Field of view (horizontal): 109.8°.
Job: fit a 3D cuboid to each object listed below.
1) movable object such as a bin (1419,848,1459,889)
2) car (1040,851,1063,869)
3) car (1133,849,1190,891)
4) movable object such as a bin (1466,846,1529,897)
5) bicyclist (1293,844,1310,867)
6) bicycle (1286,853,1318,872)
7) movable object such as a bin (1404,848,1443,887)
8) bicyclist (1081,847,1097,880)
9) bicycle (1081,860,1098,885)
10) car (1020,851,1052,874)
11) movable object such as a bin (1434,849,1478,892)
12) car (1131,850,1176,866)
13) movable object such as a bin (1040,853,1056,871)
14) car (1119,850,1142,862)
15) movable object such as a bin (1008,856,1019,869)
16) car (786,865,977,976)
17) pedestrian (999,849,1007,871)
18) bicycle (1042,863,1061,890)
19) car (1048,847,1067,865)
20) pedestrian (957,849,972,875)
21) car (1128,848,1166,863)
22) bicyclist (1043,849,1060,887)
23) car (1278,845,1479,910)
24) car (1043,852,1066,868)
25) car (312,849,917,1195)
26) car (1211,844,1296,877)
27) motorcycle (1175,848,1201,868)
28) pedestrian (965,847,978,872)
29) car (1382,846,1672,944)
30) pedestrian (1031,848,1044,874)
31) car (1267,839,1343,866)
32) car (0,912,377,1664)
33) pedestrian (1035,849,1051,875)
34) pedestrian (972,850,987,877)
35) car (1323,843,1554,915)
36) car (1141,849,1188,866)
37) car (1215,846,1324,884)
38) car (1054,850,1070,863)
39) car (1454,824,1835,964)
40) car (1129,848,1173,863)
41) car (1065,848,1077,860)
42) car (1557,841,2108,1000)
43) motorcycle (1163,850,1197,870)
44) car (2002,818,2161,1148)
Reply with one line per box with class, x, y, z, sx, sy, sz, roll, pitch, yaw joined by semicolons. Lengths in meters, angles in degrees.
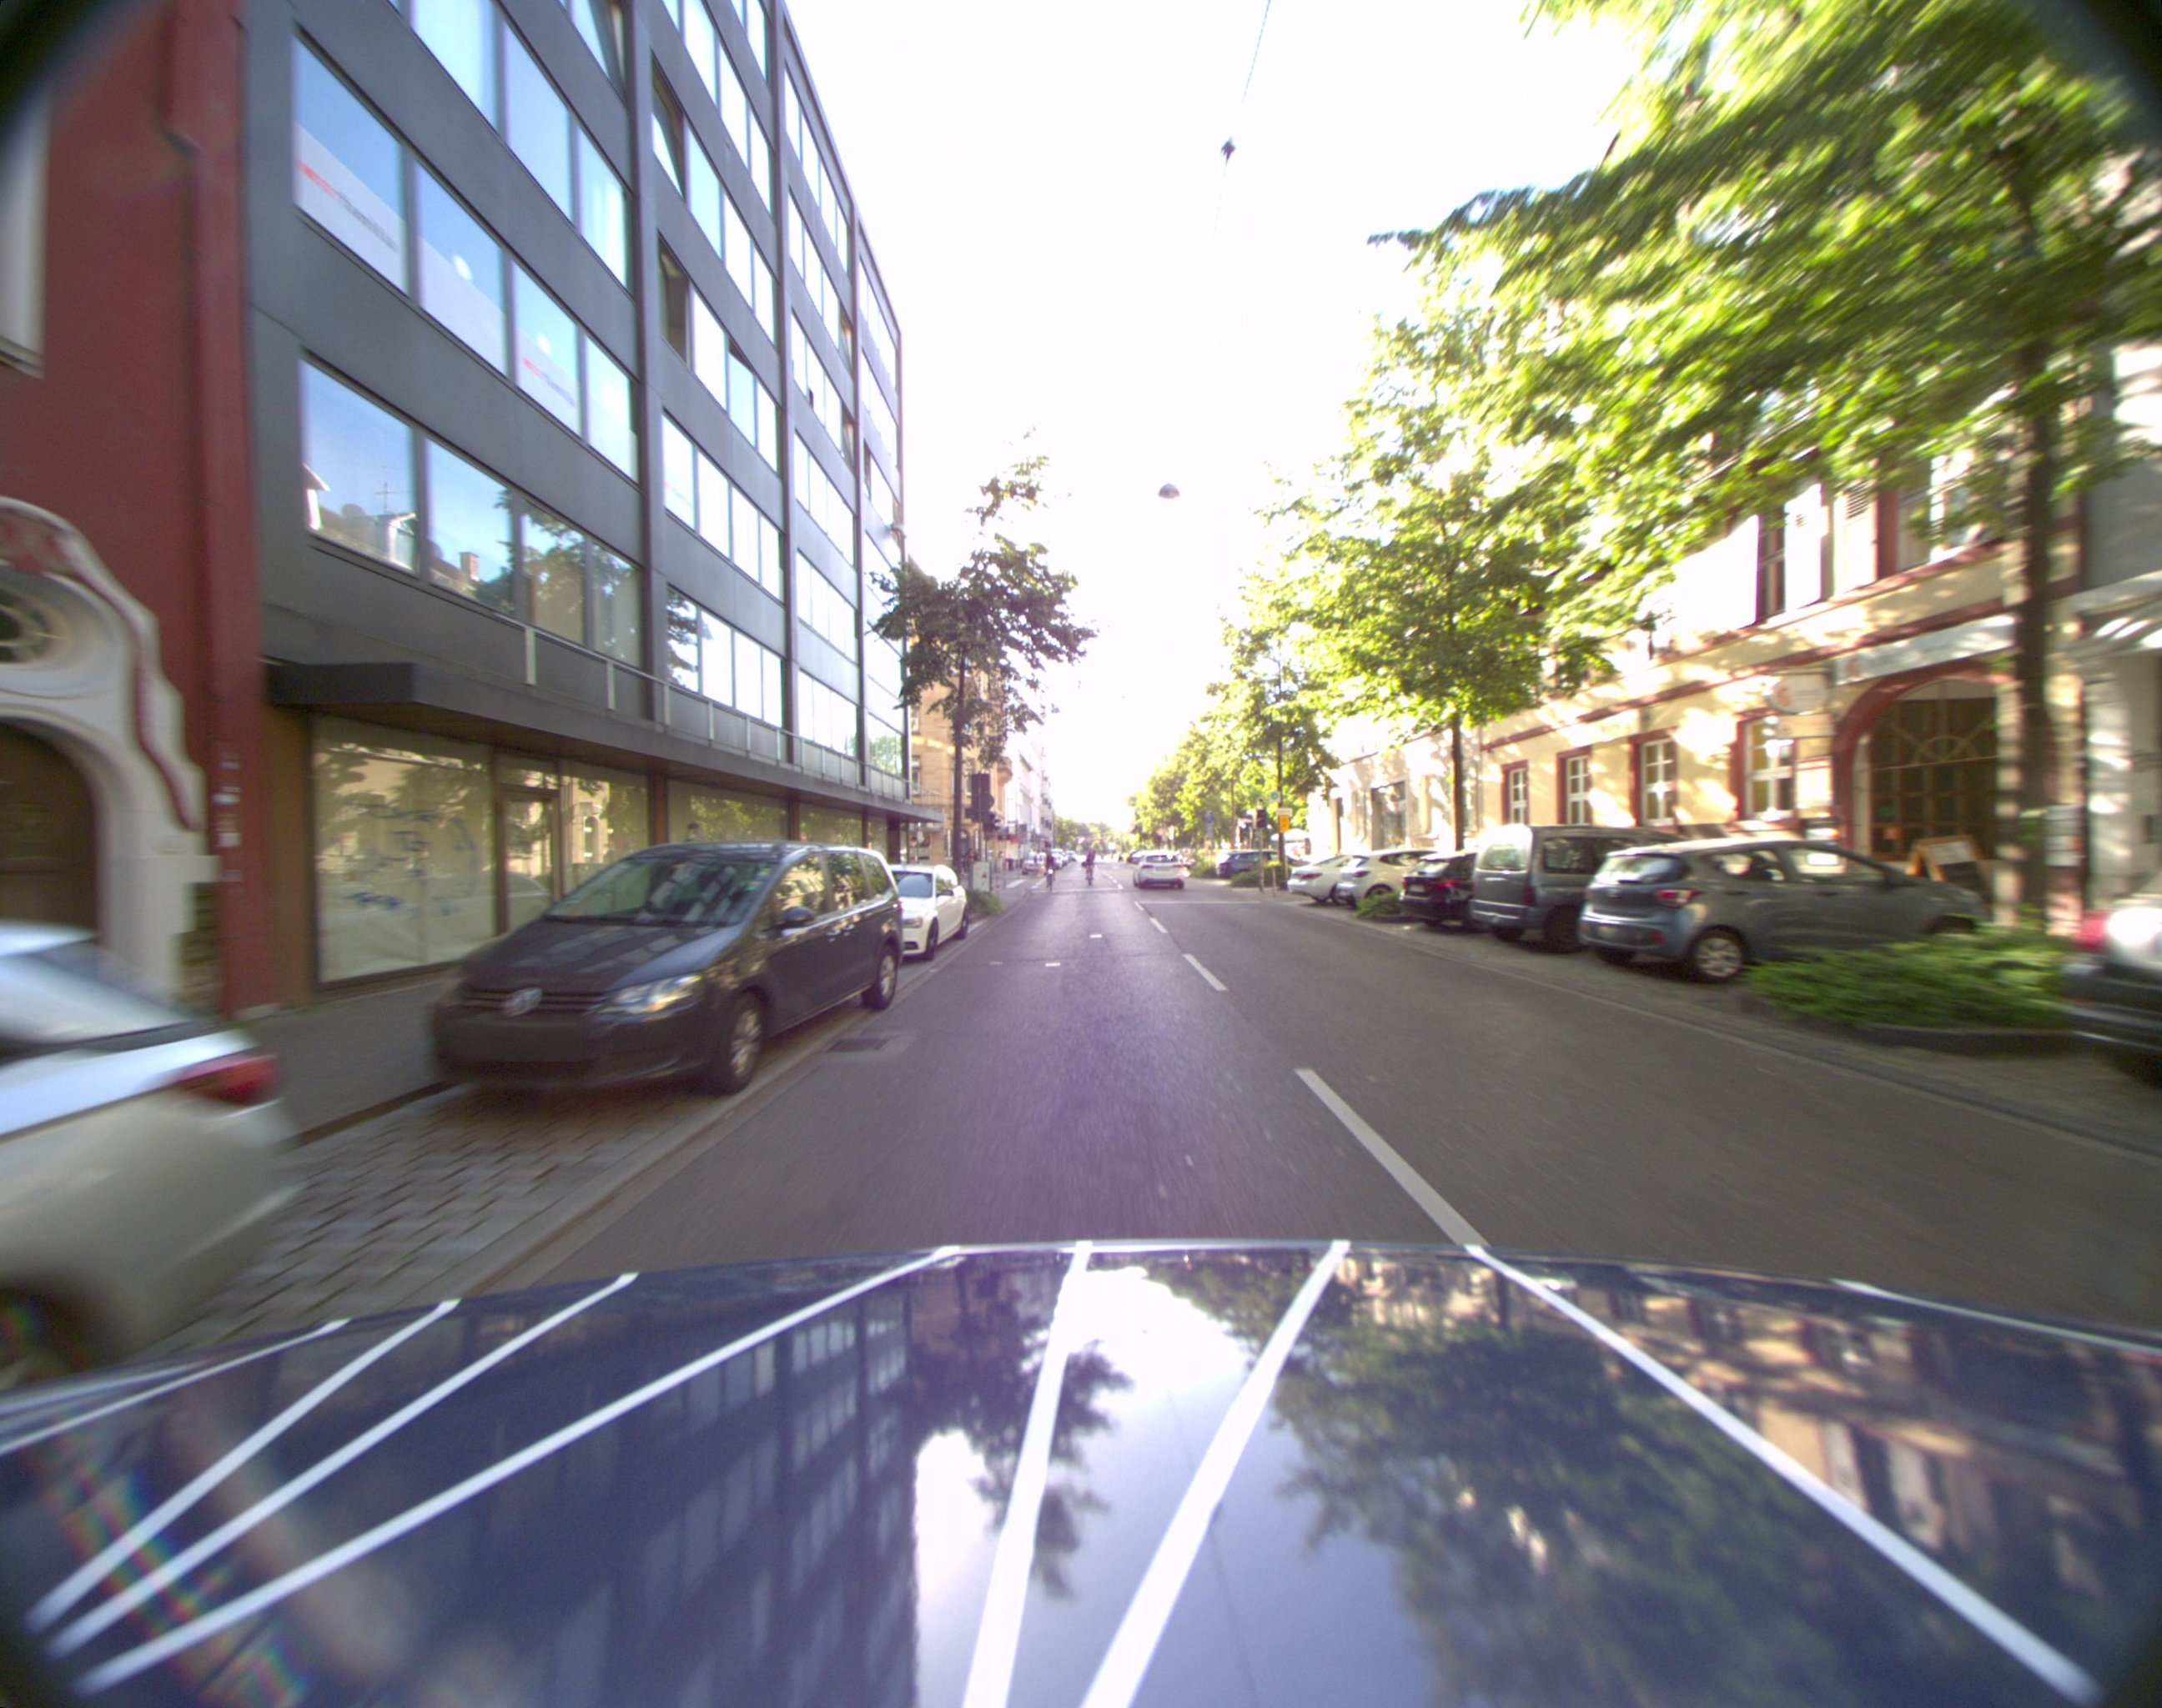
movable object such as a bin;12.327;0.482;26.175;0.831;1.347;1.248;-1;1;4
car;-2.763;0.557;72.025;1.998;1.565;4.000;2;0;1
car;3.274;0.613;31.813;1.915;1.535;4.353;-2;1;1
movable object such as a bin;12.109;0.488;22.131;1.136;1.436;1.382;-1;1;4
bicyclist;14.697;0.080;50.683;0.890;1.516;0.668;-2;1;-17
bicycle;14.738;0.556;50.700;1.945;1.151;0.668;-1;1;-17
movable object such as a bin;12.359;0.457;27.456;0.911;1.359;1.261;-1;1;4
bicyclist;0.377;0.430;35.722;0.718;1.553;0.864;-1;1;3
bicycle;0.406;0.840;36.159;0.718;1.105;2.269;-1;1;3
car;-3.195;0.589;55.016;1.978;1.565;4.126;2;0;1
movable object such as a bin;12.256;0.509;24.852;0.819;1.354;1.345;-1;1;4
car;7.105;0.378;74.635;4.006;1.433;1.995;-1;1;-30
movable object such as a bin;-2.860;0.686;65.397;1.147;1.413;1.411;2;1;5
car;6.313;0.237;95.696;1.771;1.421;4.006;-1;0;20
movable object such as a bin;-5.856;0.740;65.818;0.725;1.042;0.664;2;-1;11
car;-3.098;0.961;12.955;1.826;1.394;4.842;2;0;1
pedestrian;-6.170;0.446;60.088;0.536;1.732;0.598;-1;1;-4
bicycle;-1.233;0.943;31.955;0.666;1.061;1.836;-1;0;1
car;-2.573;0.215;85.517;1.999;1.942;5.100;1;0;-1
pedestrian;-7.570;0.527;49.279;0.618;1.683;0.717;0;2;28
car;7.771;0.165;89.336;4.003;1.684;1.997;-1;1;-18
bicyclist;-1.237;0.582;32.007;0.658;1.562;0.909;-1;1;1
car;8.041;0.602;20.827;4.713;1.484;1.999;-2;2;-4
car;-2.606;0.551;76.159;1.998;1.482;4.000;2;0;1
car;-3.059;0.881;6.522;1.826;1.767;4.932;2;0;5
car;8.888;0.328;39.375;3.996;1.630;1.945;-1;1;3
motorcycle;8.159;0.303;57.686;1.750;1.415;0.831;-1;1;27
pedestrian;-7.225;0.361;50.308;0.498;1.683;0.717;0;2;28
car;8.066;0.666;13.908;4.354;1.535;1.962;-1;1;-11
pedestrian;-2.939;0.485;51.262;0.699;1.709;0.693;1;1;-22
car;16.585;-0.087;56.224;5.336;1.933;2.070;0;0;-25
car;-3.352;1.011;0.163;1.826;1.587;4.842;2;0;1
pedestrian;-2.526;0.504;50.667;0.693;1.709;0.897;2;1;25
pedestrian;-6.494;0.590;48.512;0.617;1.682;0.677;3;3;45
car;8.644;0.592;18.656;4.713;1.483;1.999;-2;0;-4
car;7.982;0.320;72.406;4.006;1.553;1.995;-1;1;-30
car;8.265;0.473;33.596;4.349;1.535;1.945;-1;1;3
car;-2.368;0.309;95.489;1.999;1.444;3.955;2;0;0
car;8.209;0.534;11.339;4.352;1.813;1.929;-1;1;-4
car;7.177;0.176;77.779;4.005;1.465;1.996;-1;1;-25
car;-1.837;-0.033;138.650;1.998;2.002;4.000;-1;0;1
car;8.201;0.675;8.654;4.350;1.535;1.916;-1;1;1
motorcycle;7.414;0.430;56.854;2.316;1.415;1.002;-1;1;28
car;7.800;0.630;3.712;4.351;1.723;1.916;-1;1;-1
